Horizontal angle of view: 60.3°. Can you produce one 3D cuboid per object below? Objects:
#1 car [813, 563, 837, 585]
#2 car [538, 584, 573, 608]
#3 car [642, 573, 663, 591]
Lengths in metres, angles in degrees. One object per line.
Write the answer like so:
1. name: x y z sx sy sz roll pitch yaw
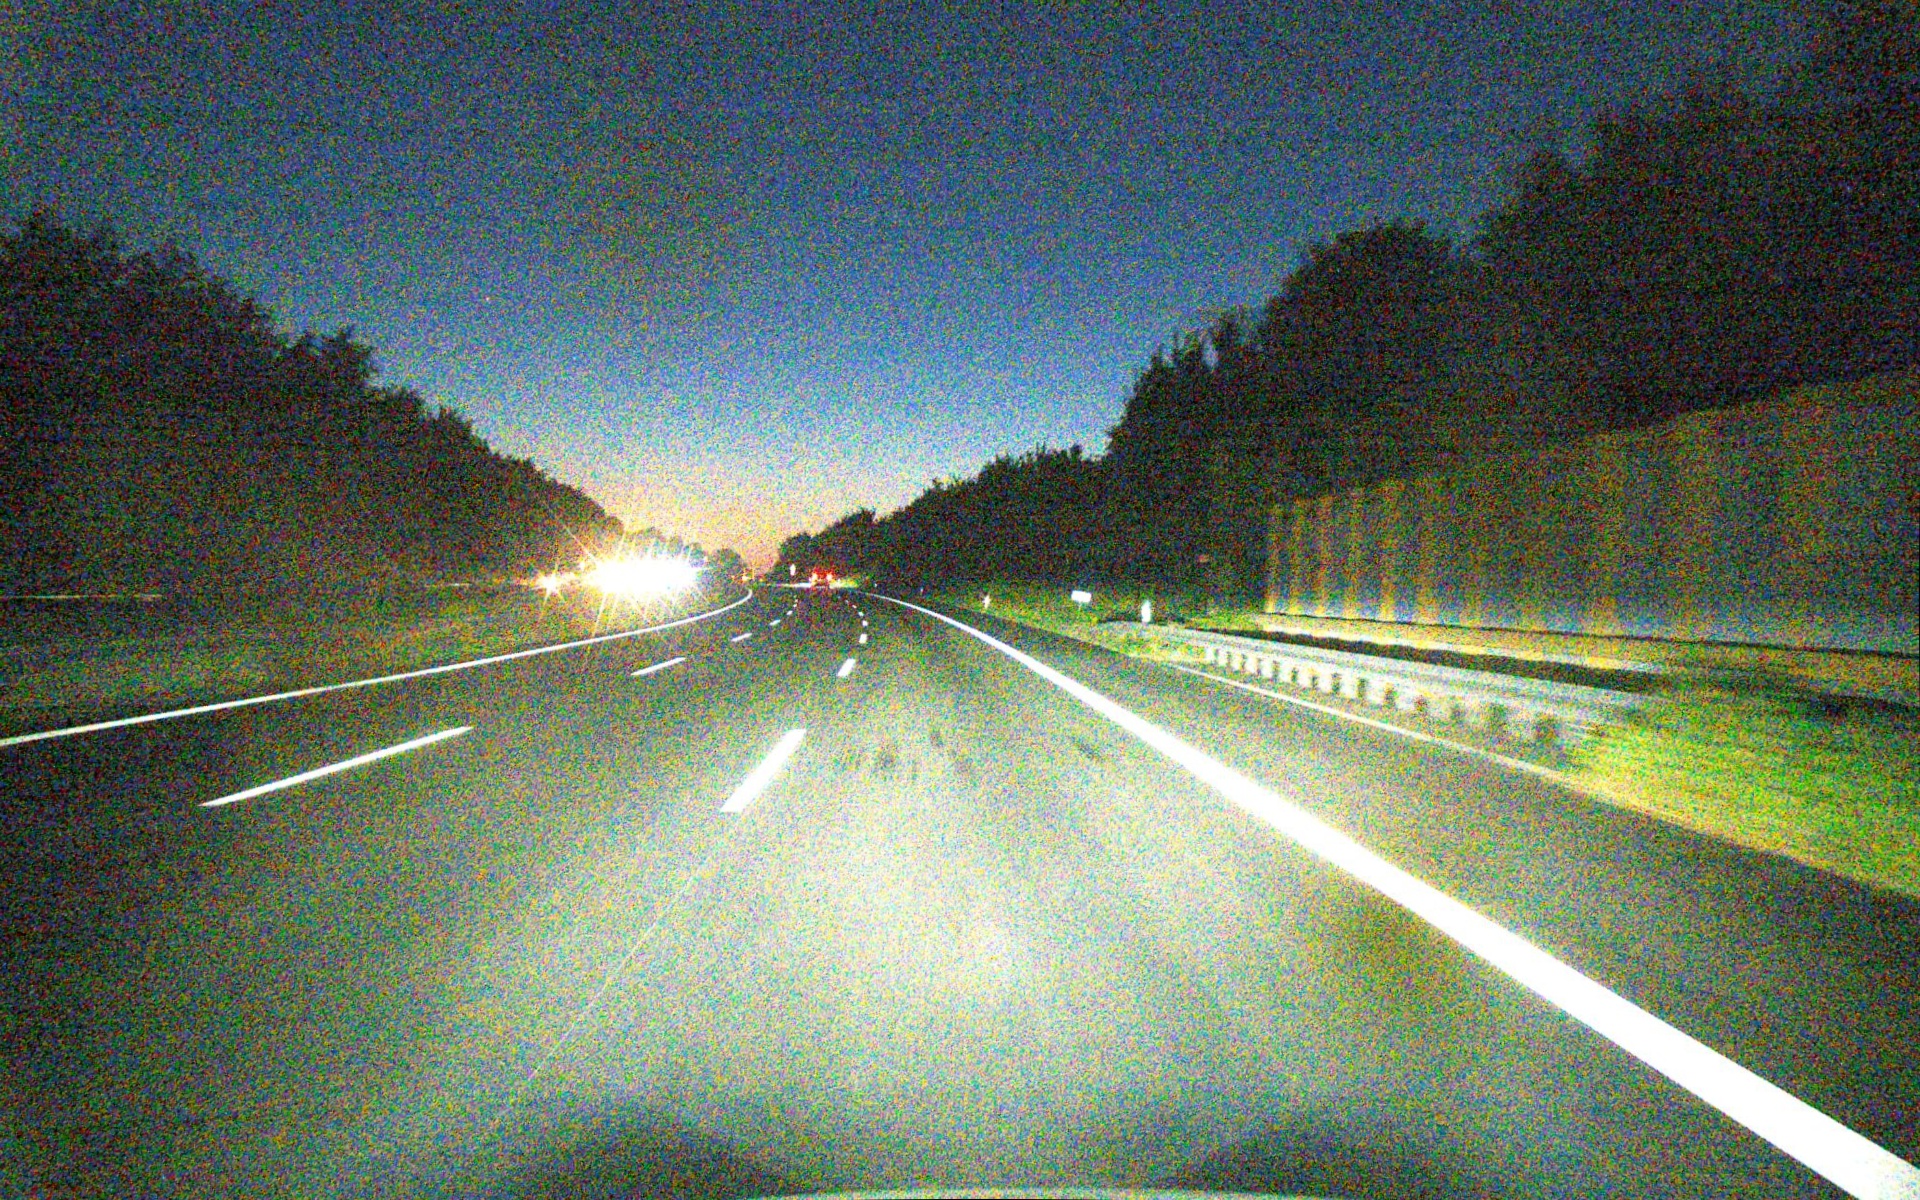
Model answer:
1. car: -16.731 -3.167 204.768 2.481 2.597 6.039 3 0 -8
2. car: -30.335 -0.333 124.078 1.955 1.756 4.072 0 1 -6
3. car: -33.230 -1.939 178.798 1.955 1.886 4.072 0 1 -6
